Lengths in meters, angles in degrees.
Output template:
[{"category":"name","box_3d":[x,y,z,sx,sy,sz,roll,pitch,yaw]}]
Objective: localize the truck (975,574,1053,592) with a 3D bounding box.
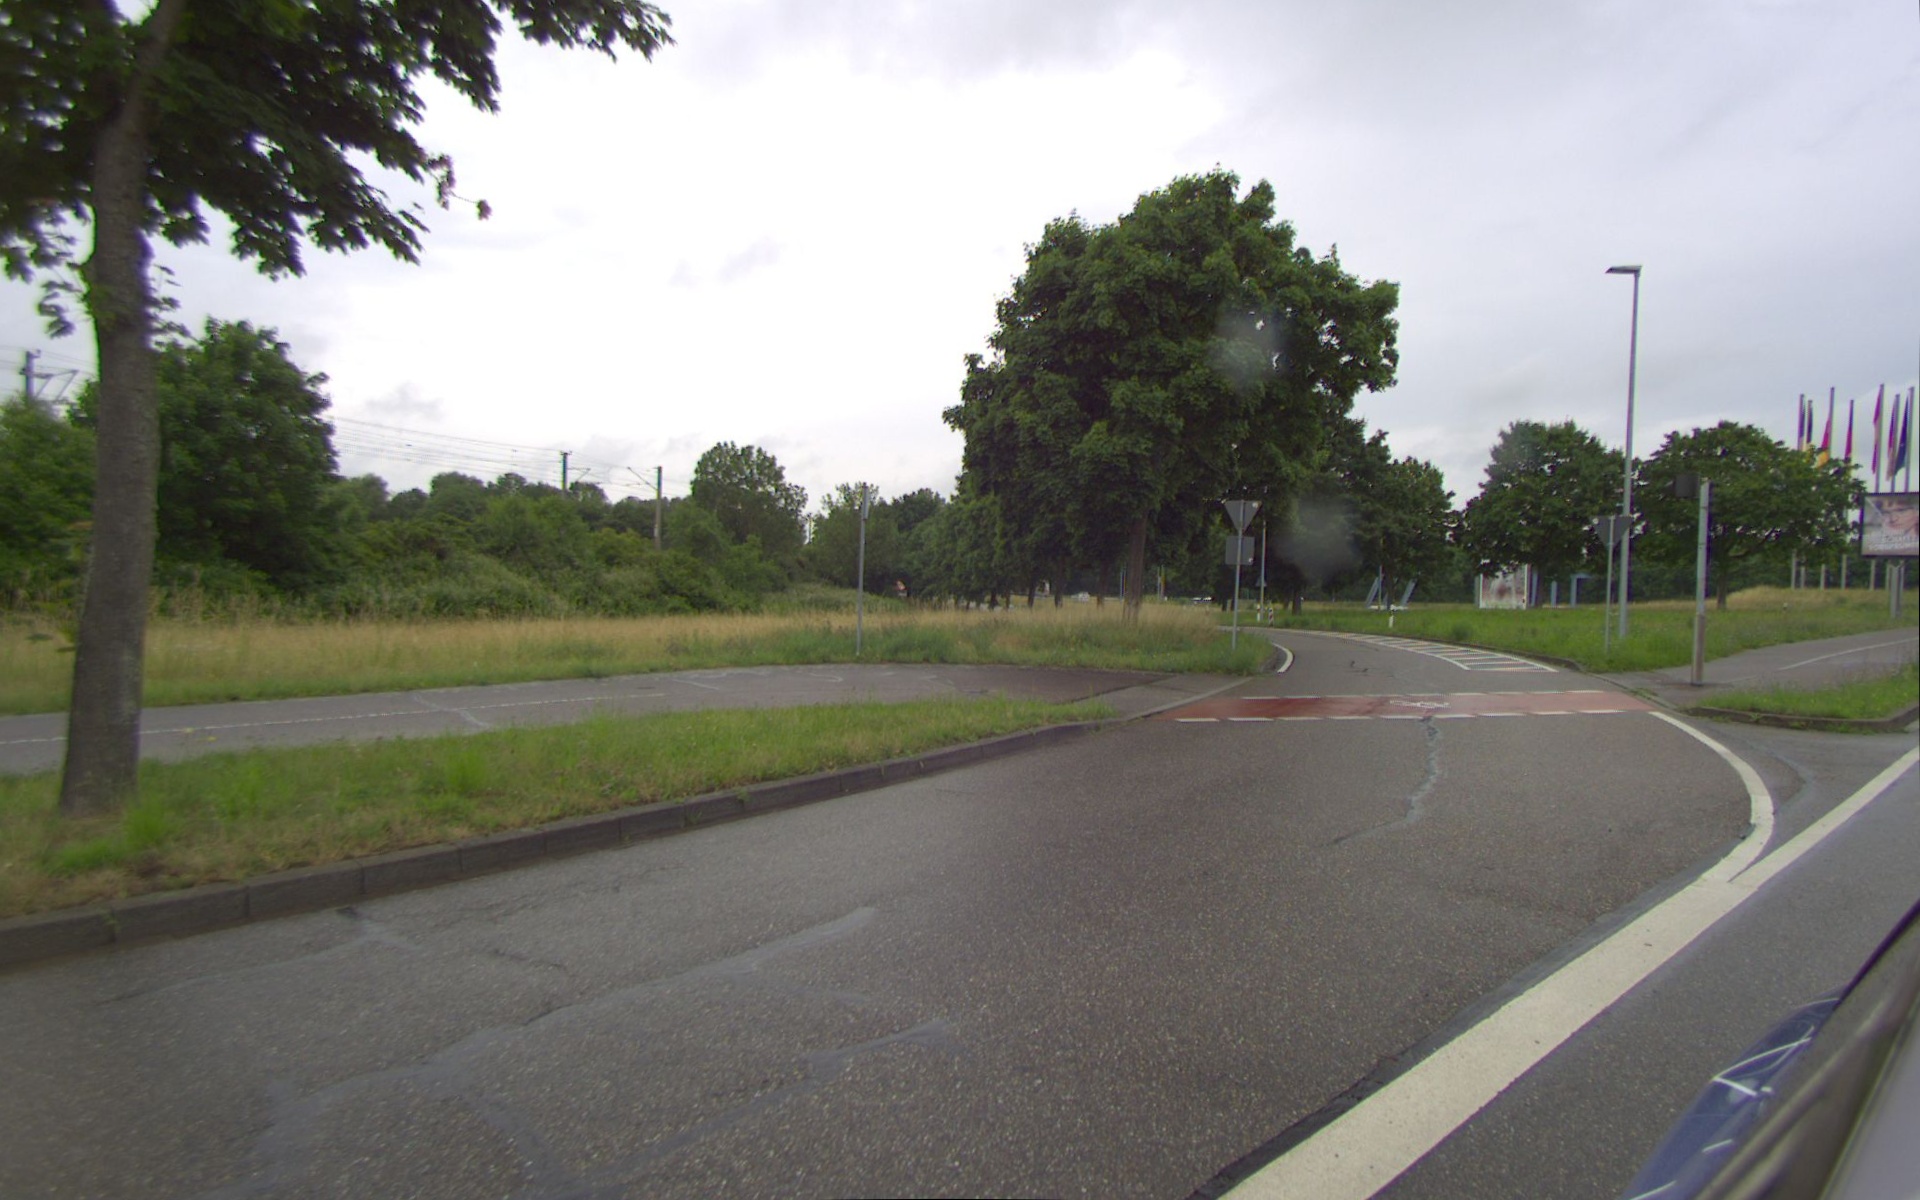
[{"category":"truck","box_3d":[10.345,-3.325,197.369,16.147,3.433,2.717,1,1,33]}]

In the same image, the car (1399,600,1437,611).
[{"category":"car","box_3d":[71.084,0.853,157.108,5.248,1.627,2.216,2,1,32]}]
